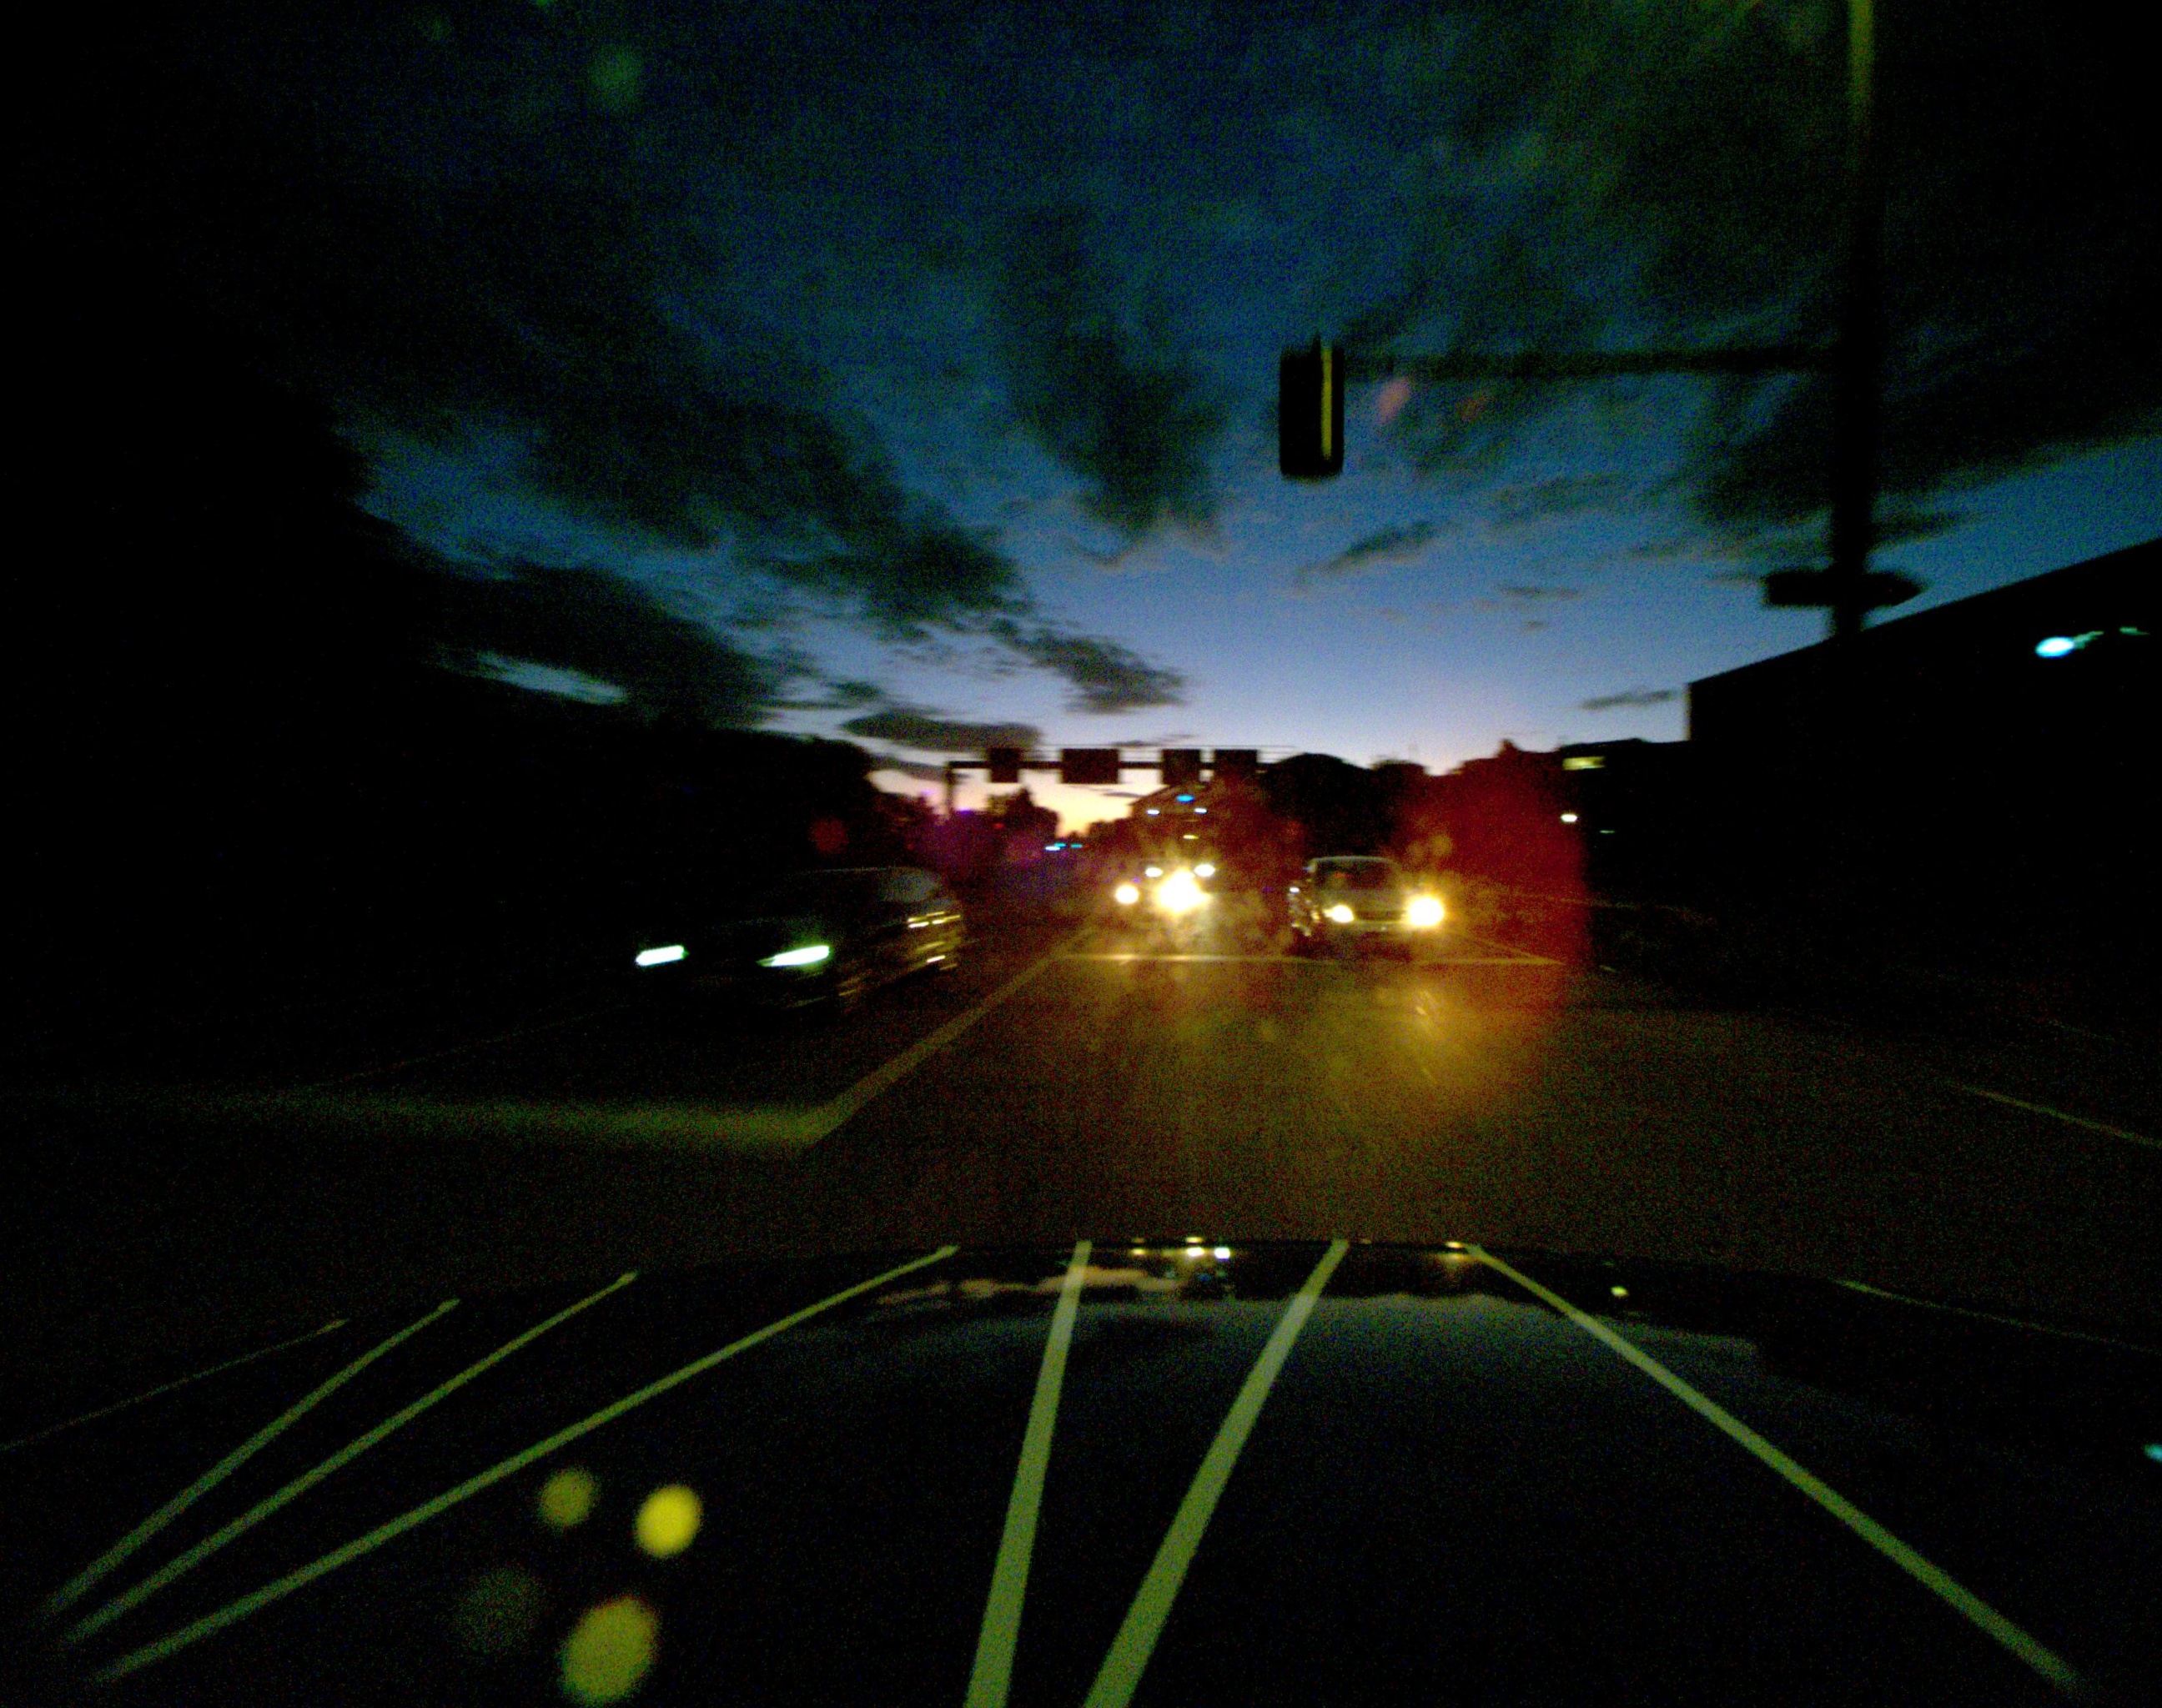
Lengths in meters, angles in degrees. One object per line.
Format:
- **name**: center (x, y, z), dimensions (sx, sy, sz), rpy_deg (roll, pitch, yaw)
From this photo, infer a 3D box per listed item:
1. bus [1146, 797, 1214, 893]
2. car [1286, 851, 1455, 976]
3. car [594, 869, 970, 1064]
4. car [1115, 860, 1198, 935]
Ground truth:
- **bus**: center (4.622, -0.405, 36.332), dimensions (2.612, 3.768, 12.280), rpy_deg (-1, 1, 6)
- **car**: center (4.461, 0.799, 12.372), dimensions (1.669, 1.643, 4.414), rpy_deg (-1, 0, 9)
- **car**: center (-2.802, 0.966, 8.446), dimensions (1.793, 1.435, 4.537), rpy_deg (-1, 0, 9)
- **car**: center (1.837, 0.905, 17.509), dimensions (1.669, 1.472, 3.779), rpy_deg (-1, 0, 9)
